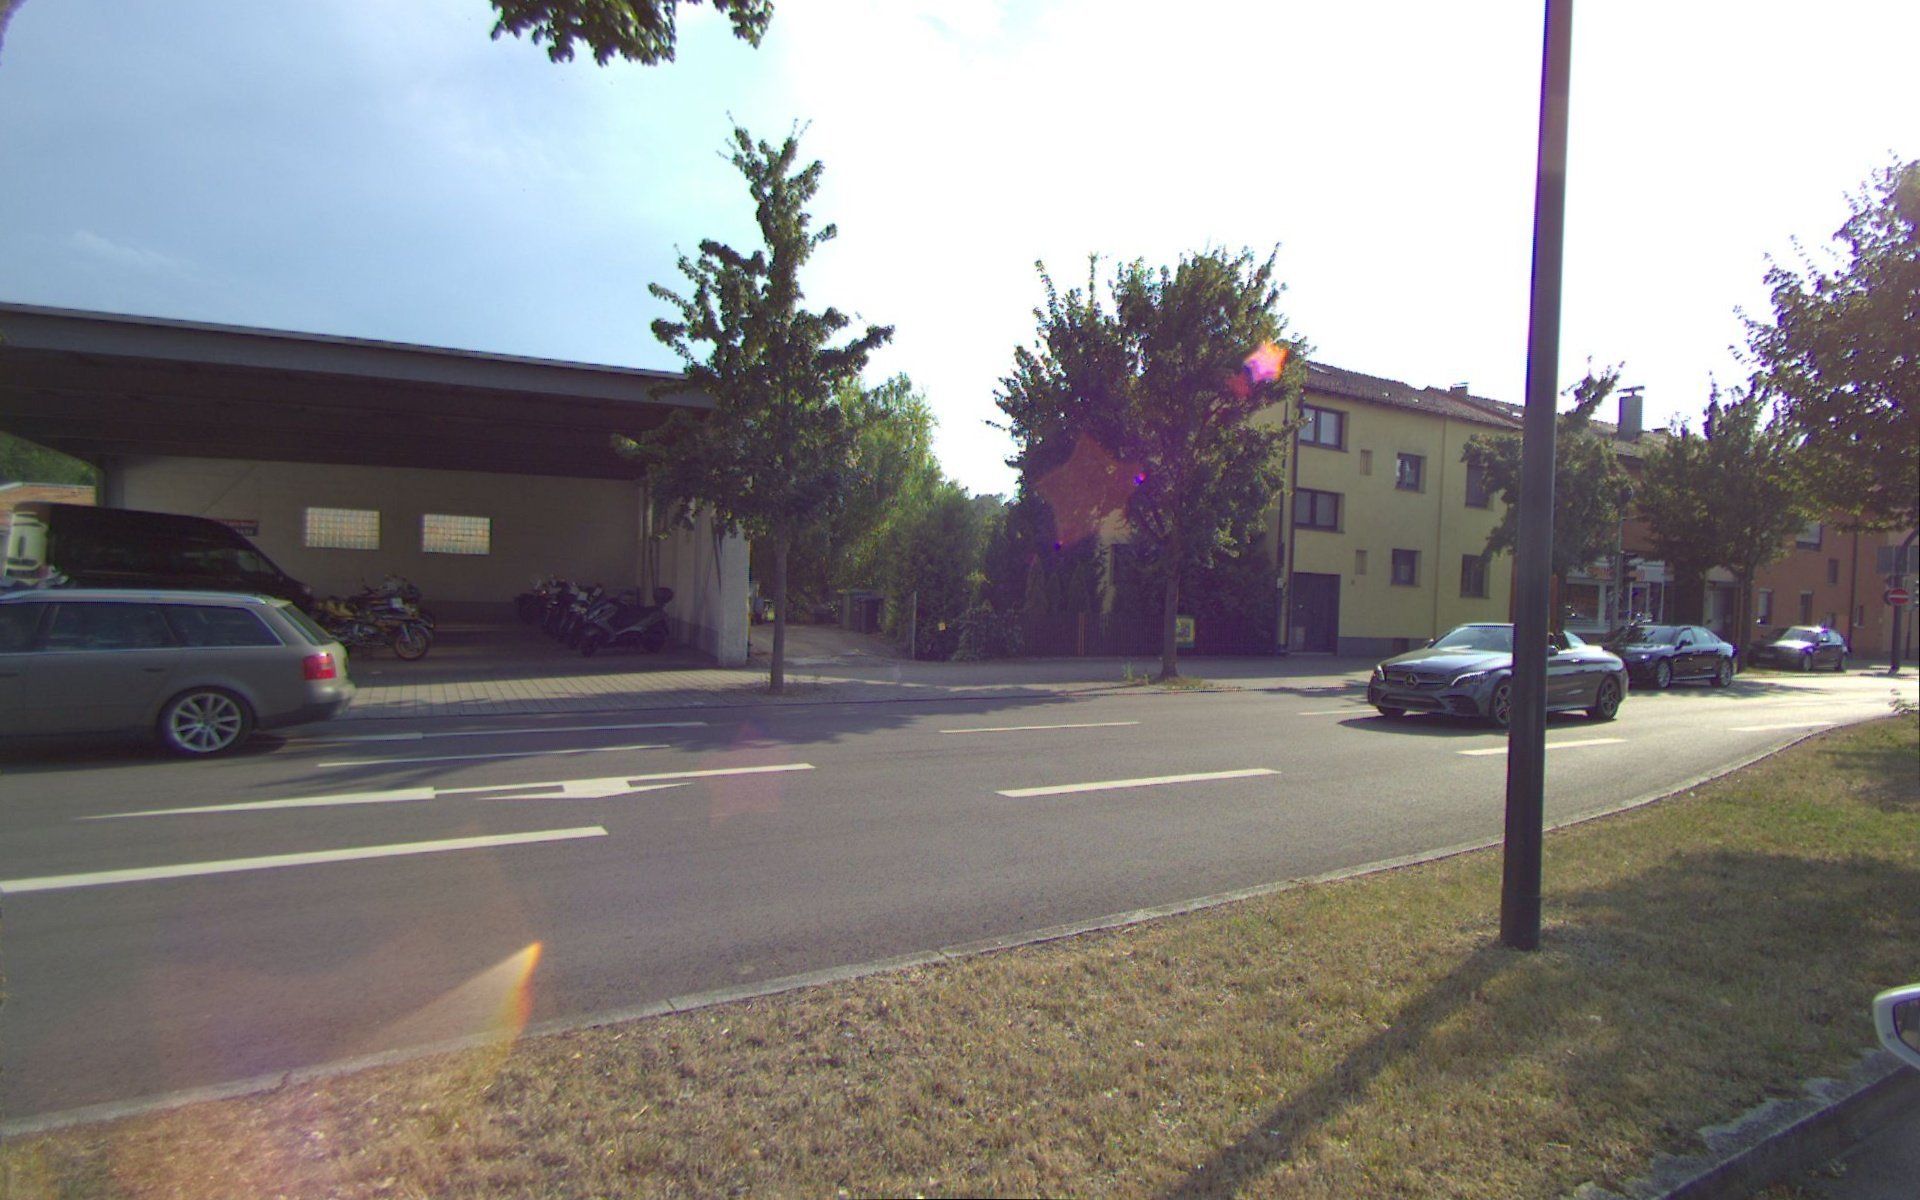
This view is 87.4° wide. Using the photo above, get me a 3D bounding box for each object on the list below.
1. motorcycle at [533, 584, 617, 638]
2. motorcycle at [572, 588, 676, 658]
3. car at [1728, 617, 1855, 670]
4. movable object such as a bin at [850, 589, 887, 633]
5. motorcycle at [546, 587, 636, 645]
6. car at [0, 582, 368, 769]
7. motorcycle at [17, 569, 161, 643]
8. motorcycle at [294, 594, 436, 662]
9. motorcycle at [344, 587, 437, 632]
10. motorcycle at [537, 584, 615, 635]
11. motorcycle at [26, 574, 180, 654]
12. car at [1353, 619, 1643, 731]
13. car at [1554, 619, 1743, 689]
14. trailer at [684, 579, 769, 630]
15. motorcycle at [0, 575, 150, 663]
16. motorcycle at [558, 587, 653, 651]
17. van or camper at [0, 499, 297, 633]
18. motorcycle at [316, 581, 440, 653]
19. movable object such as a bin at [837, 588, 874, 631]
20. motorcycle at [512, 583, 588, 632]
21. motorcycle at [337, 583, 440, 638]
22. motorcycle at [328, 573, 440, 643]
[{"bbox_3d":[-9.821,0.287,25.711,0.573,1.325,2.086,2,0,30],"label":"motorcycle"},{"bbox_3d":[-6.669,0.442,20.062,0.553,1.325,2.112,2,0,30],"label":"motorcycle"},{"bbox_3d":[27.866,1.443,33.666,3.949,1.573,1.836,1,2,-28],"label":"car"},{"bbox_3d":[-2.367,0.283,26.013,0.688,1.101,0.727,1,3,-30],"label":"movable object such as a bin"},{"bbox_3d":[-8.812,0.369,24.074,0.612,1.325,2.086,2,0,30],"label":"motorcycle"},{"bbox_3d":[-7.942,0.600,8.808,4.655,1.482,1.678,1,0,-30],"label":"car"},{"bbox_3d":[-16.648,0.112,19.264,0.637,1.329,2.007,2,0,23],"label":"motorcycle"},{"bbox_3d":[-10.504,0.487,17.756,2.111,1.139,0.631,1,0,0],"label":"motorcycle"},{"bbox_3d":[-15.125,0.245,26.696,2.111,1.138,0.563,1,0,0],"label":"motorcycle"},{"bbox_3d":[-10.467,0.254,27.449,0.553,1.325,2.086,2,0,30],"label":"motorcycle"},{"bbox_3d":[-15.253,0.245,17.939,0.637,1.329,2.007,2,0,23],"label":"motorcycle"},{"bbox_3d":[7.905,1.012,14.639,4.429,1.367,1.770,1,0,-32],"label":"car"},{"bbox_3d":[16.042,1.221,23.355,4.590,1.441,1.834,1,0,-30],"label":"car"},{"bbox_3d":[-6.108,0.078,26.625,1.692,1.199,3.594,1,1,-5],"label":"trailer"},{"bbox_3d":[-14.262,0.295,16.004,0.659,1.329,2.000,2,0,37],"label":"motorcycle"},{"bbox_3d":[-7.725,0.414,21.988,0.553,1.325,2.086,2,0,30],"label":"motorcycle"},{"bbox_3d":[-18.484,-0.683,23.147,1.963,2.716,5.033,2,0,26],"label":"van or camper"},{"bbox_3d":[-11.542,0.337,19.960,2.111,1.347,0.563,1,0,0],"label":"motorcycle"},{"bbox_3d":[-2.786,0.253,26.798,0.712,1.101,0.727,1,3,-30],"label":"movable object such as a bin"},{"bbox_3d":[-11.541,0.215,28.345,0.553,1.325,2.086,2,0,30],"label":"motorcycle"},{"bbox_3d":[-13.856,0.257,24.390,2.111,1.275,0.647,1,0,0],"label":"motorcycle"},{"bbox_3d":[-12.695,0.181,22.167,2.111,1.468,0.594,1,0,0],"label":"motorcycle"}]
